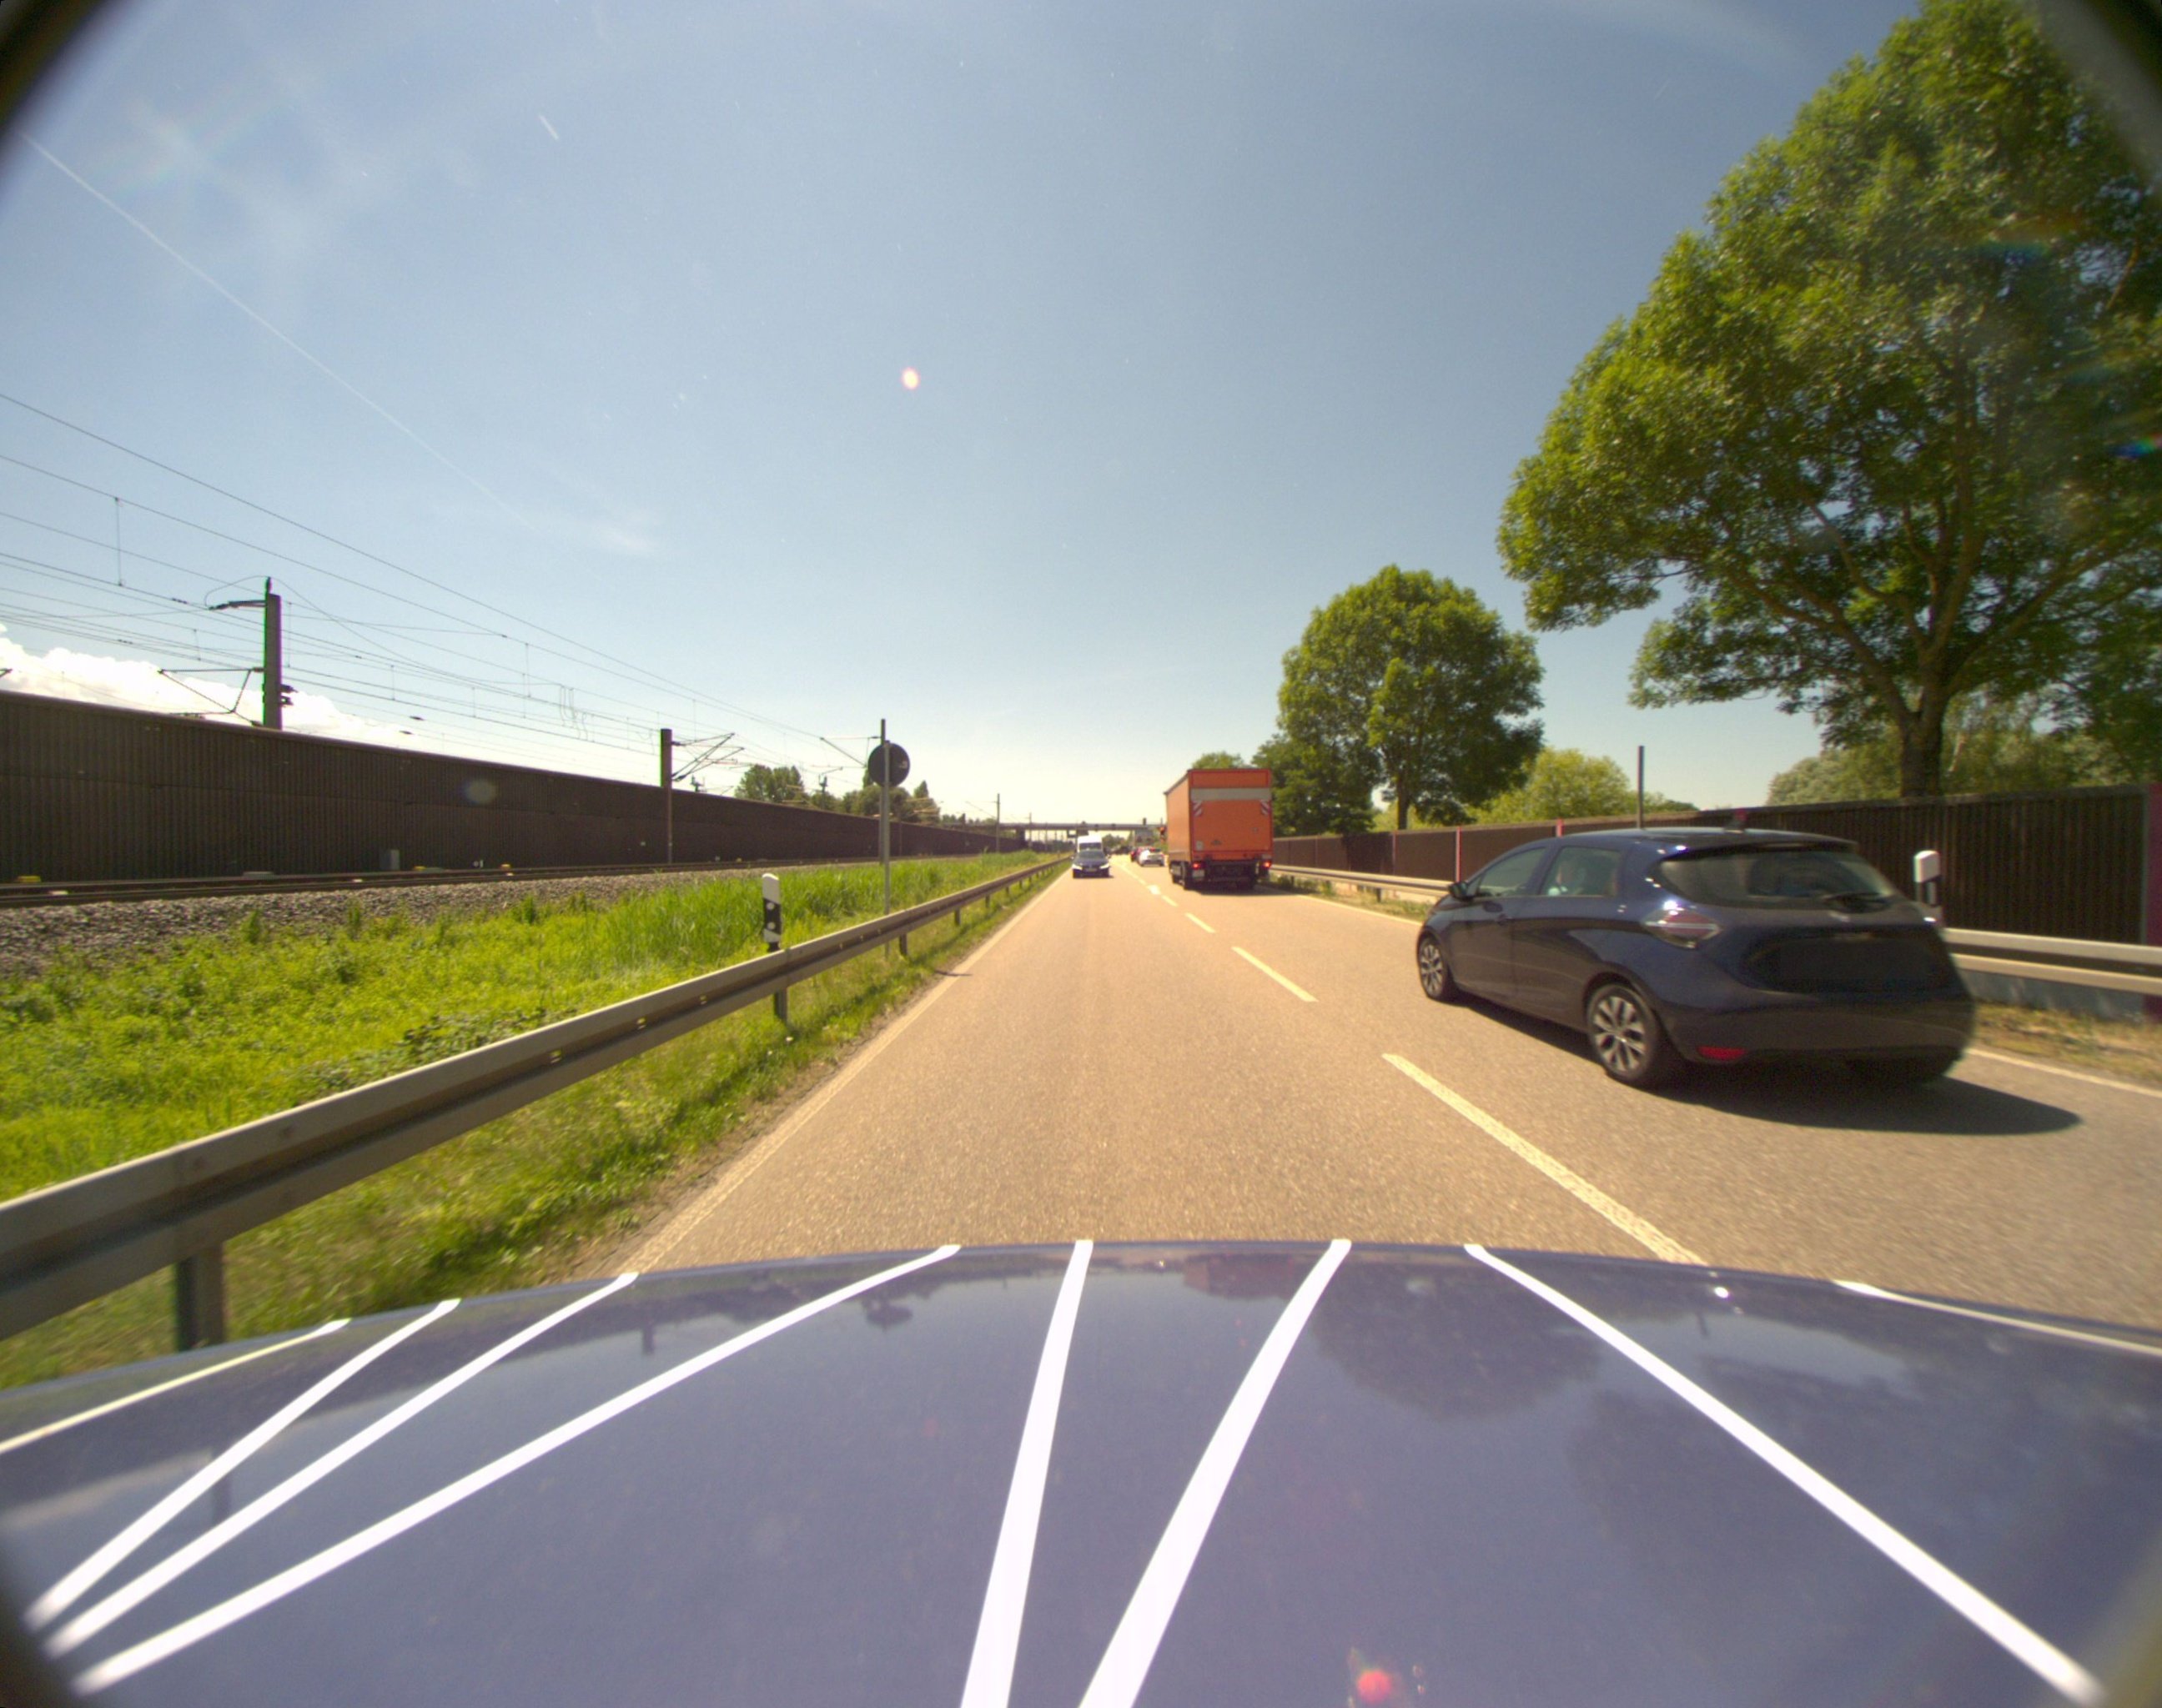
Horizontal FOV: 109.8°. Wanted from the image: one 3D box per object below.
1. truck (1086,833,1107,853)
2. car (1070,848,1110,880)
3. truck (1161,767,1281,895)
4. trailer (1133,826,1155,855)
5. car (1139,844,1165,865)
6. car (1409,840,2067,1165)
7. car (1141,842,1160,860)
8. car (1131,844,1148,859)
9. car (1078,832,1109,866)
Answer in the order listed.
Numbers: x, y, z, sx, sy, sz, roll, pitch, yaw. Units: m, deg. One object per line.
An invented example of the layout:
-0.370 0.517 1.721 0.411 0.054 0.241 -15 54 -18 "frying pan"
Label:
2.608 -1.782 124.605 2.692 3.177 9.179 0 1 5 "truck"
0.506 0.440 37.780 1.847 1.415 4.562 -1 1 2 "car"
4.750 -0.772 27.797 2.799 3.818 9.322 -2 1 1 "truck"
9.388 -2.096 114.758 2.695 4.022 14.124 -2 1 3 "trailer"
5.408 0.018 58.513 1.689 1.451 4.616 -2 1 2 "car"
3.998 0.720 5.569 1.626 1.568 3.763 -1 0 1 "car"
6.690 -0.298 73.212 1.759 1.622 4.280 -1 1 4 "car"
6.297 -0.289 81.422 1.720 1.580 4.535 -1 1 5 "car"
1.033 -0.404 59.411 2.227 2.480 5.983 -1 0 3 "car"
